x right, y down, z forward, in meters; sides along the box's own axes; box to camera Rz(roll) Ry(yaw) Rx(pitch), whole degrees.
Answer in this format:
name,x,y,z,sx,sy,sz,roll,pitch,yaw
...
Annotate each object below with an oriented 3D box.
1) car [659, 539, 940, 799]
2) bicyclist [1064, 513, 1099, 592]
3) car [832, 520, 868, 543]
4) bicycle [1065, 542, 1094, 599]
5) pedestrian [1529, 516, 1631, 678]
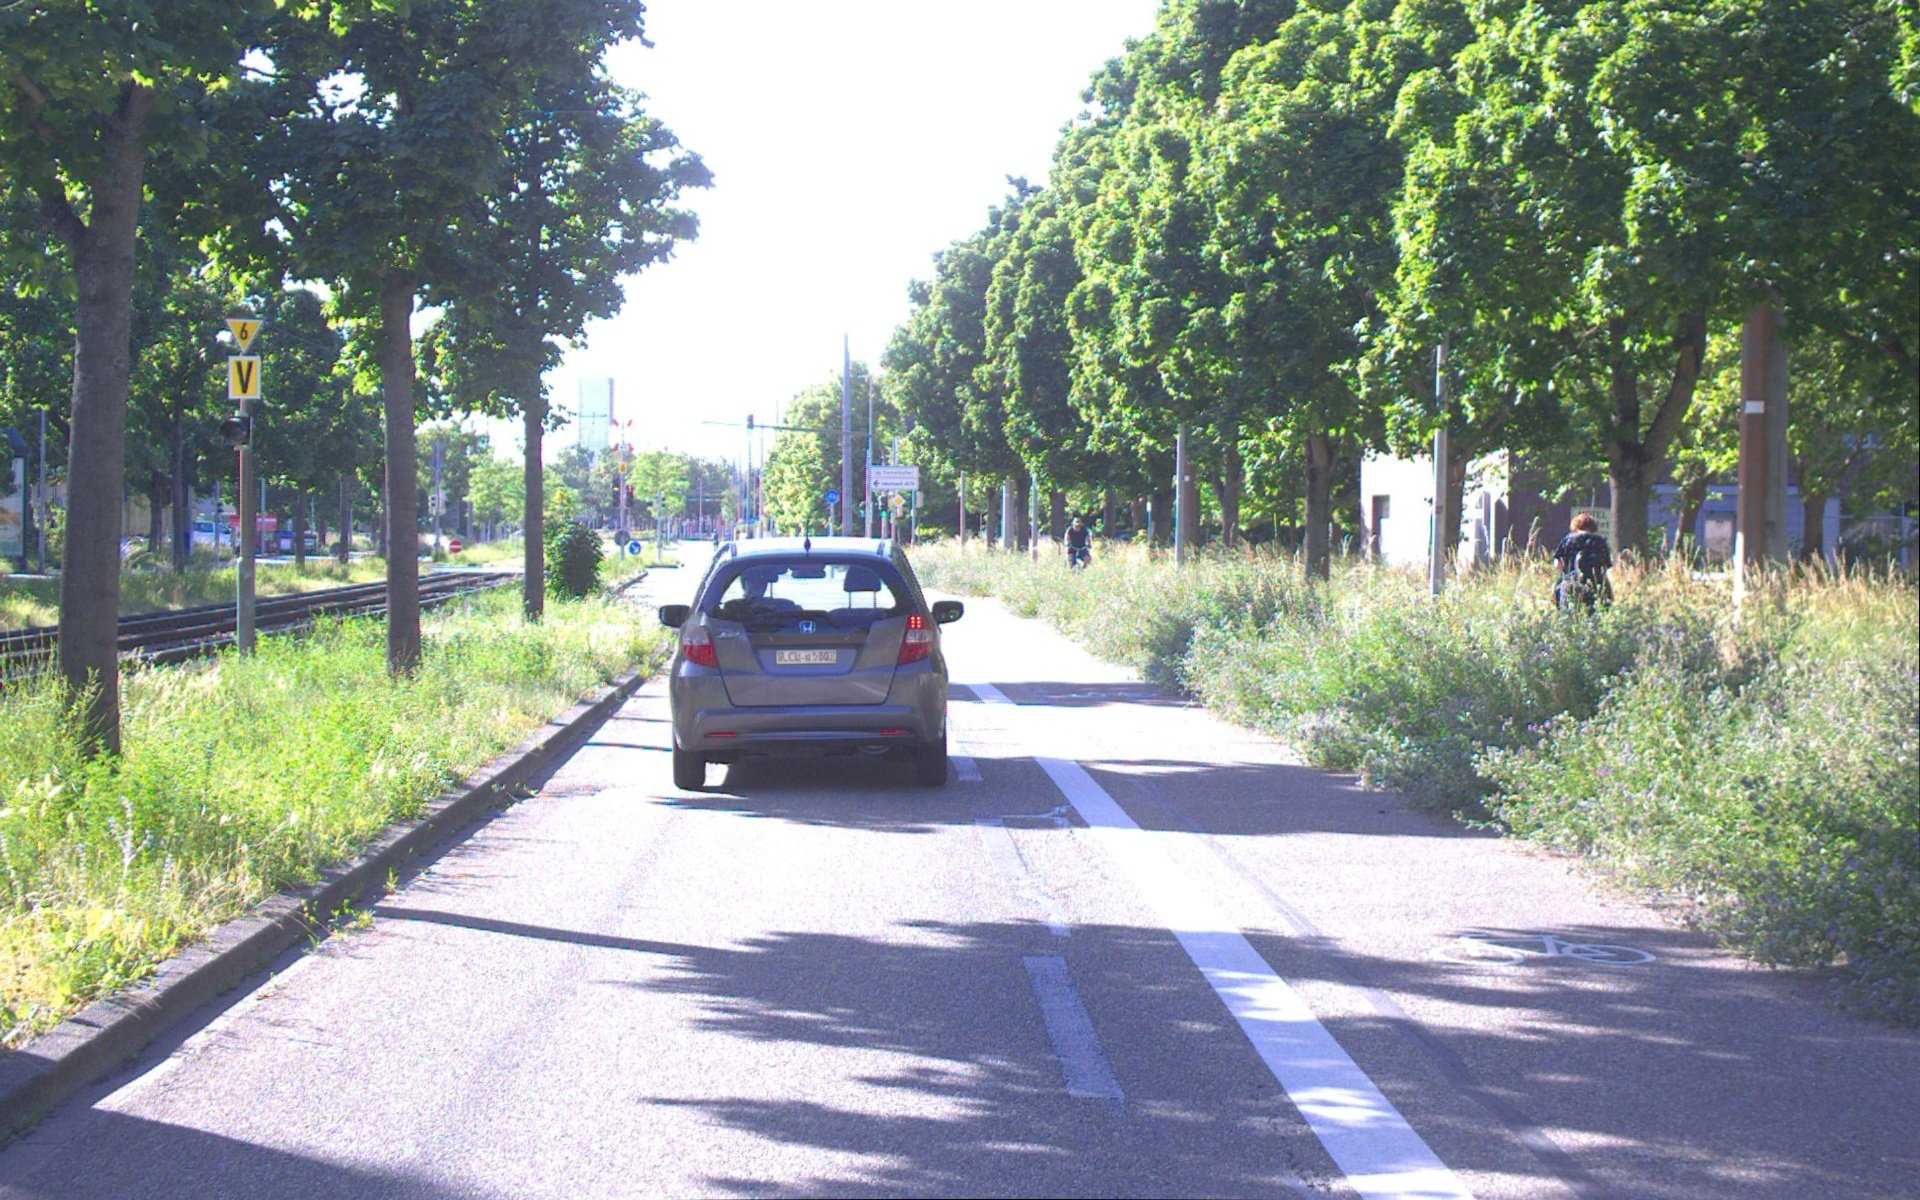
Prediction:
name,x,y,z,sx,sy,sz,roll,pitch,yaw
car,-0.975,0.373,21.729,1.624,1.494,3.457,0,1,-1
bicyclist,2.669,-1.032,75.560,0.683,1.714,0.902,1,0,-3
car,-6.729,-4.205,209.710,1.773,1.382,3.871,0,1,-8
bicycle,2.629,-0.637,75.654,0.483,1.200,2.143,1,-1,-2
pedestrian,6.081,-0.037,33.749,0.824,1.563,0.762,1,1,-1
